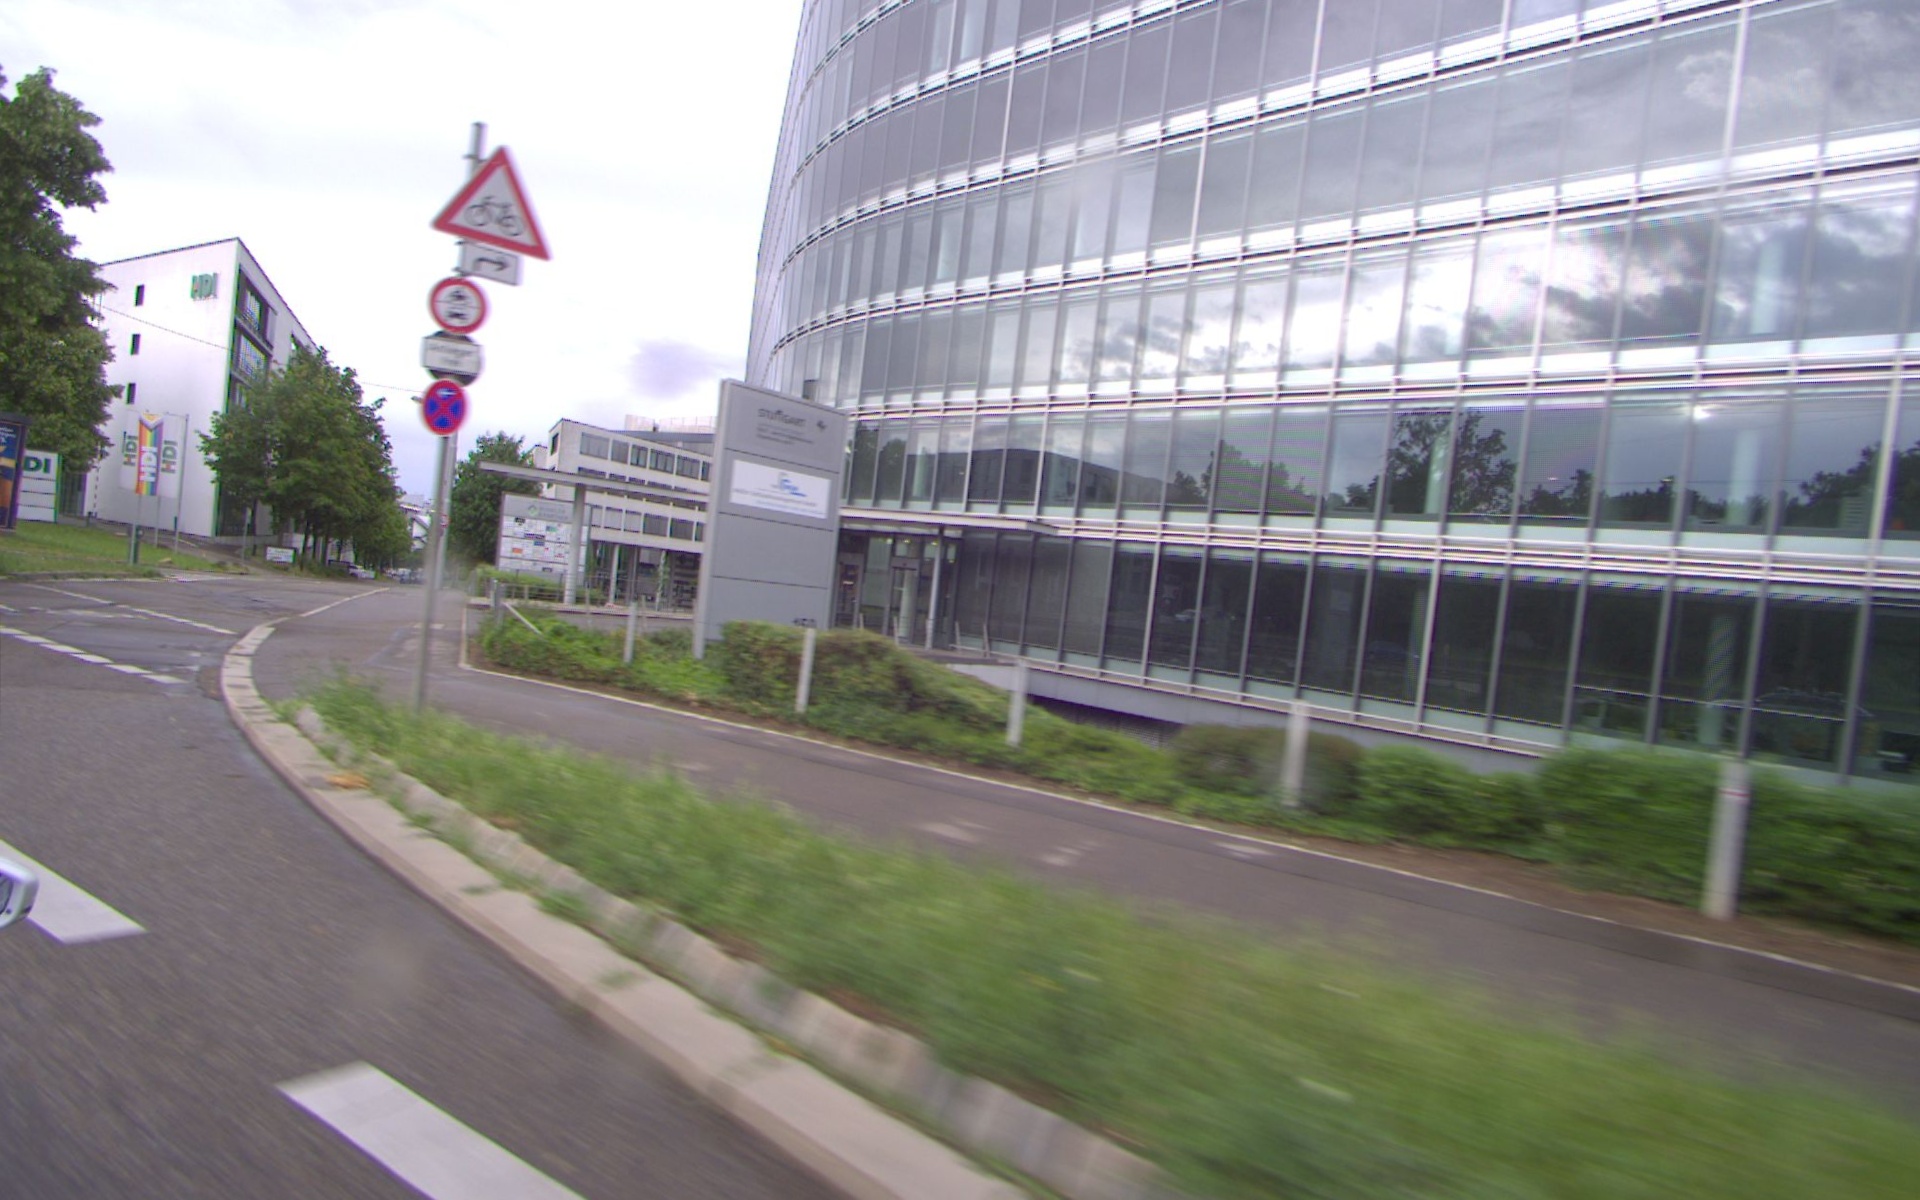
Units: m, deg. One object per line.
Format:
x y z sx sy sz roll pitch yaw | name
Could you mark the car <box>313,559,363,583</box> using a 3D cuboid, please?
-60.268 -2.804 97.585 3.958 1.738 1.984 7 0 -31 | car
